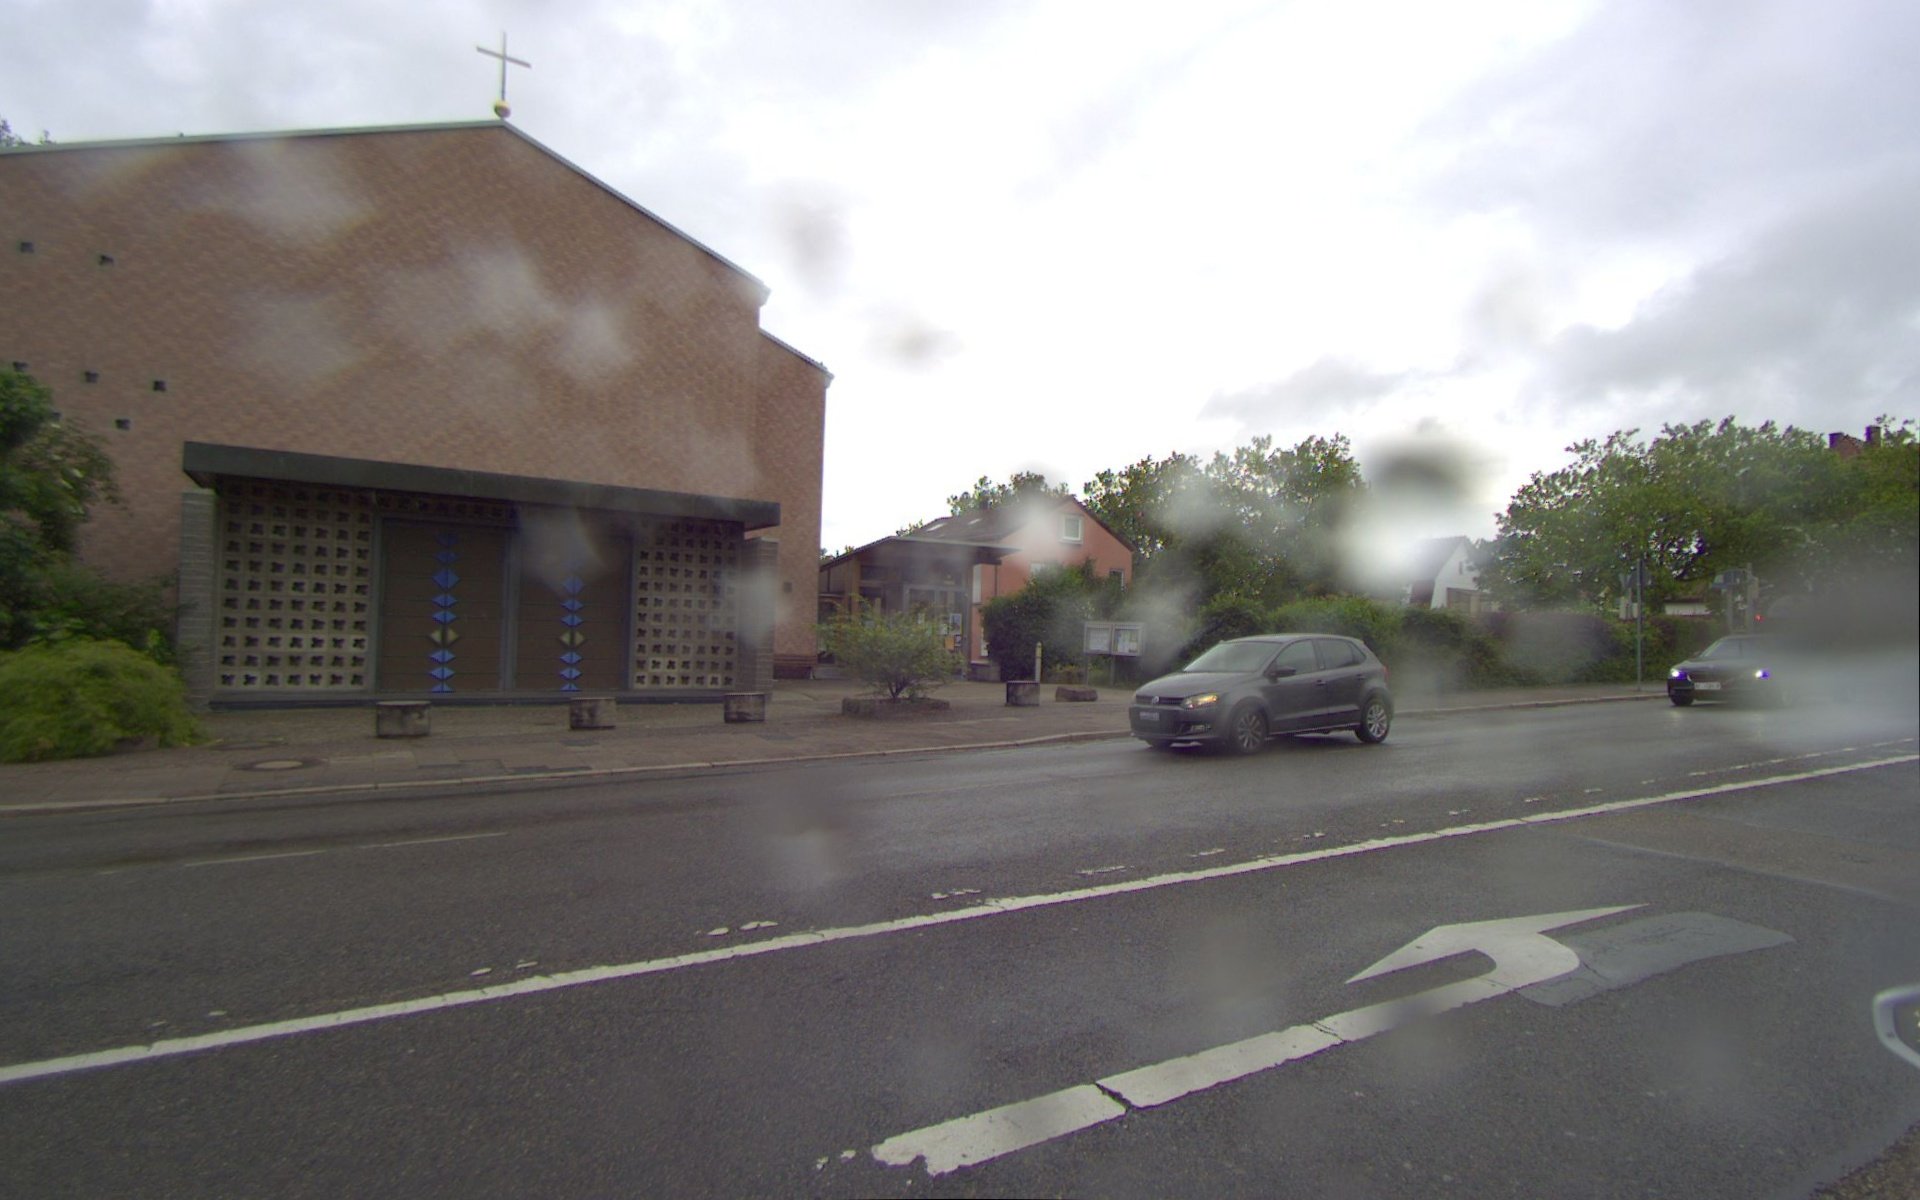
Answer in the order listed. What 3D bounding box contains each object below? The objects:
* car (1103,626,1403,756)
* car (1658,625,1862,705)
[{"bbox_3d":[3.833,1.086,12.967,3.863,1.447,1.586,1,-3,-33],"label":"car"},{"bbox_3d":[16.631,1.294,20.811,4.896,1.473,1.899,2,-2,-33],"label":"car"}]
